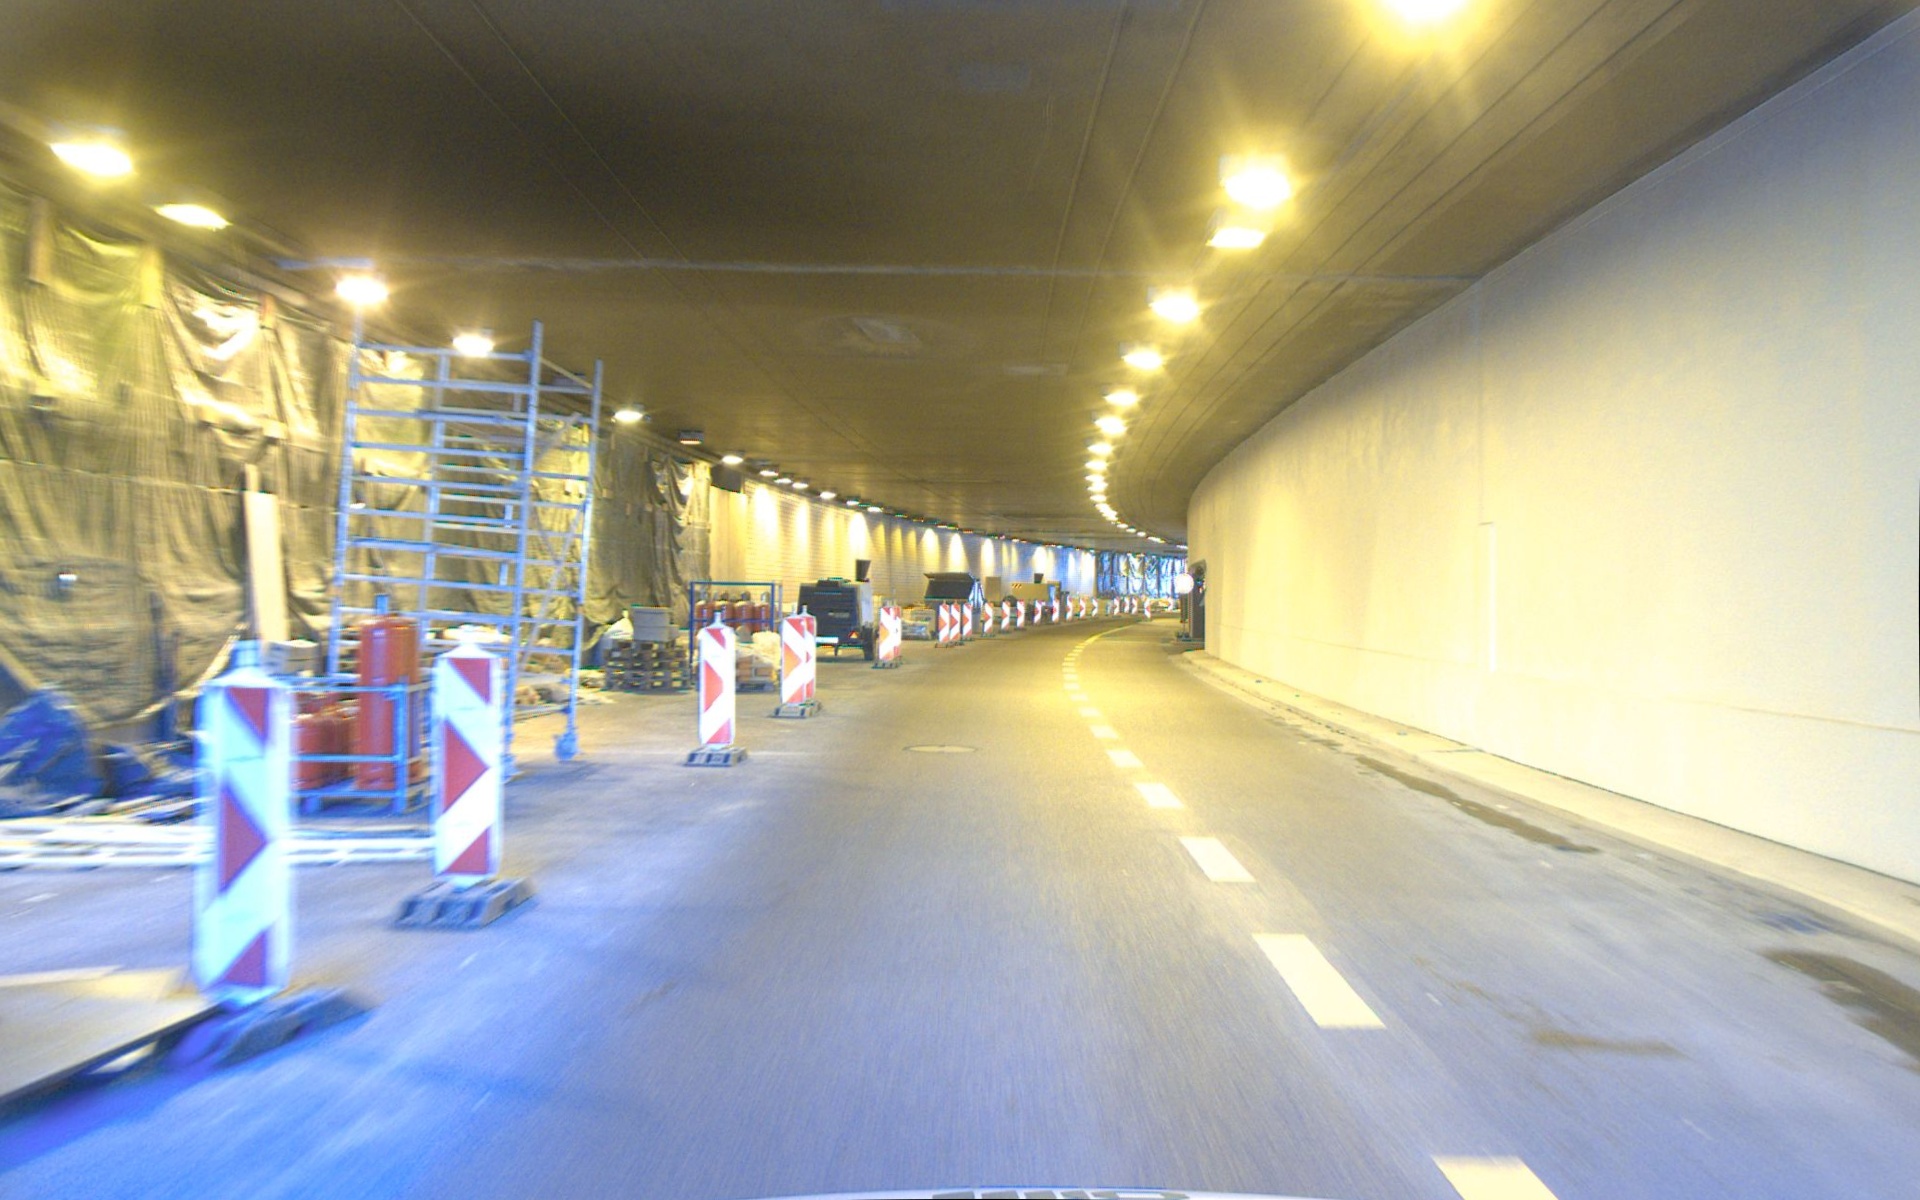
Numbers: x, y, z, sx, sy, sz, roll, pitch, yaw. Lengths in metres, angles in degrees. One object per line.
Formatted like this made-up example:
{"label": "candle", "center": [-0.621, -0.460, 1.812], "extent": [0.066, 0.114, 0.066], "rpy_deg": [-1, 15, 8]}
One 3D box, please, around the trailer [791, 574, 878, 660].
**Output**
{"label": "trailer", "center": [-2.758, 0.363, 36.918], "extent": [1.547, 1.829, 2.940], "rpy_deg": [1, 0, 3]}
